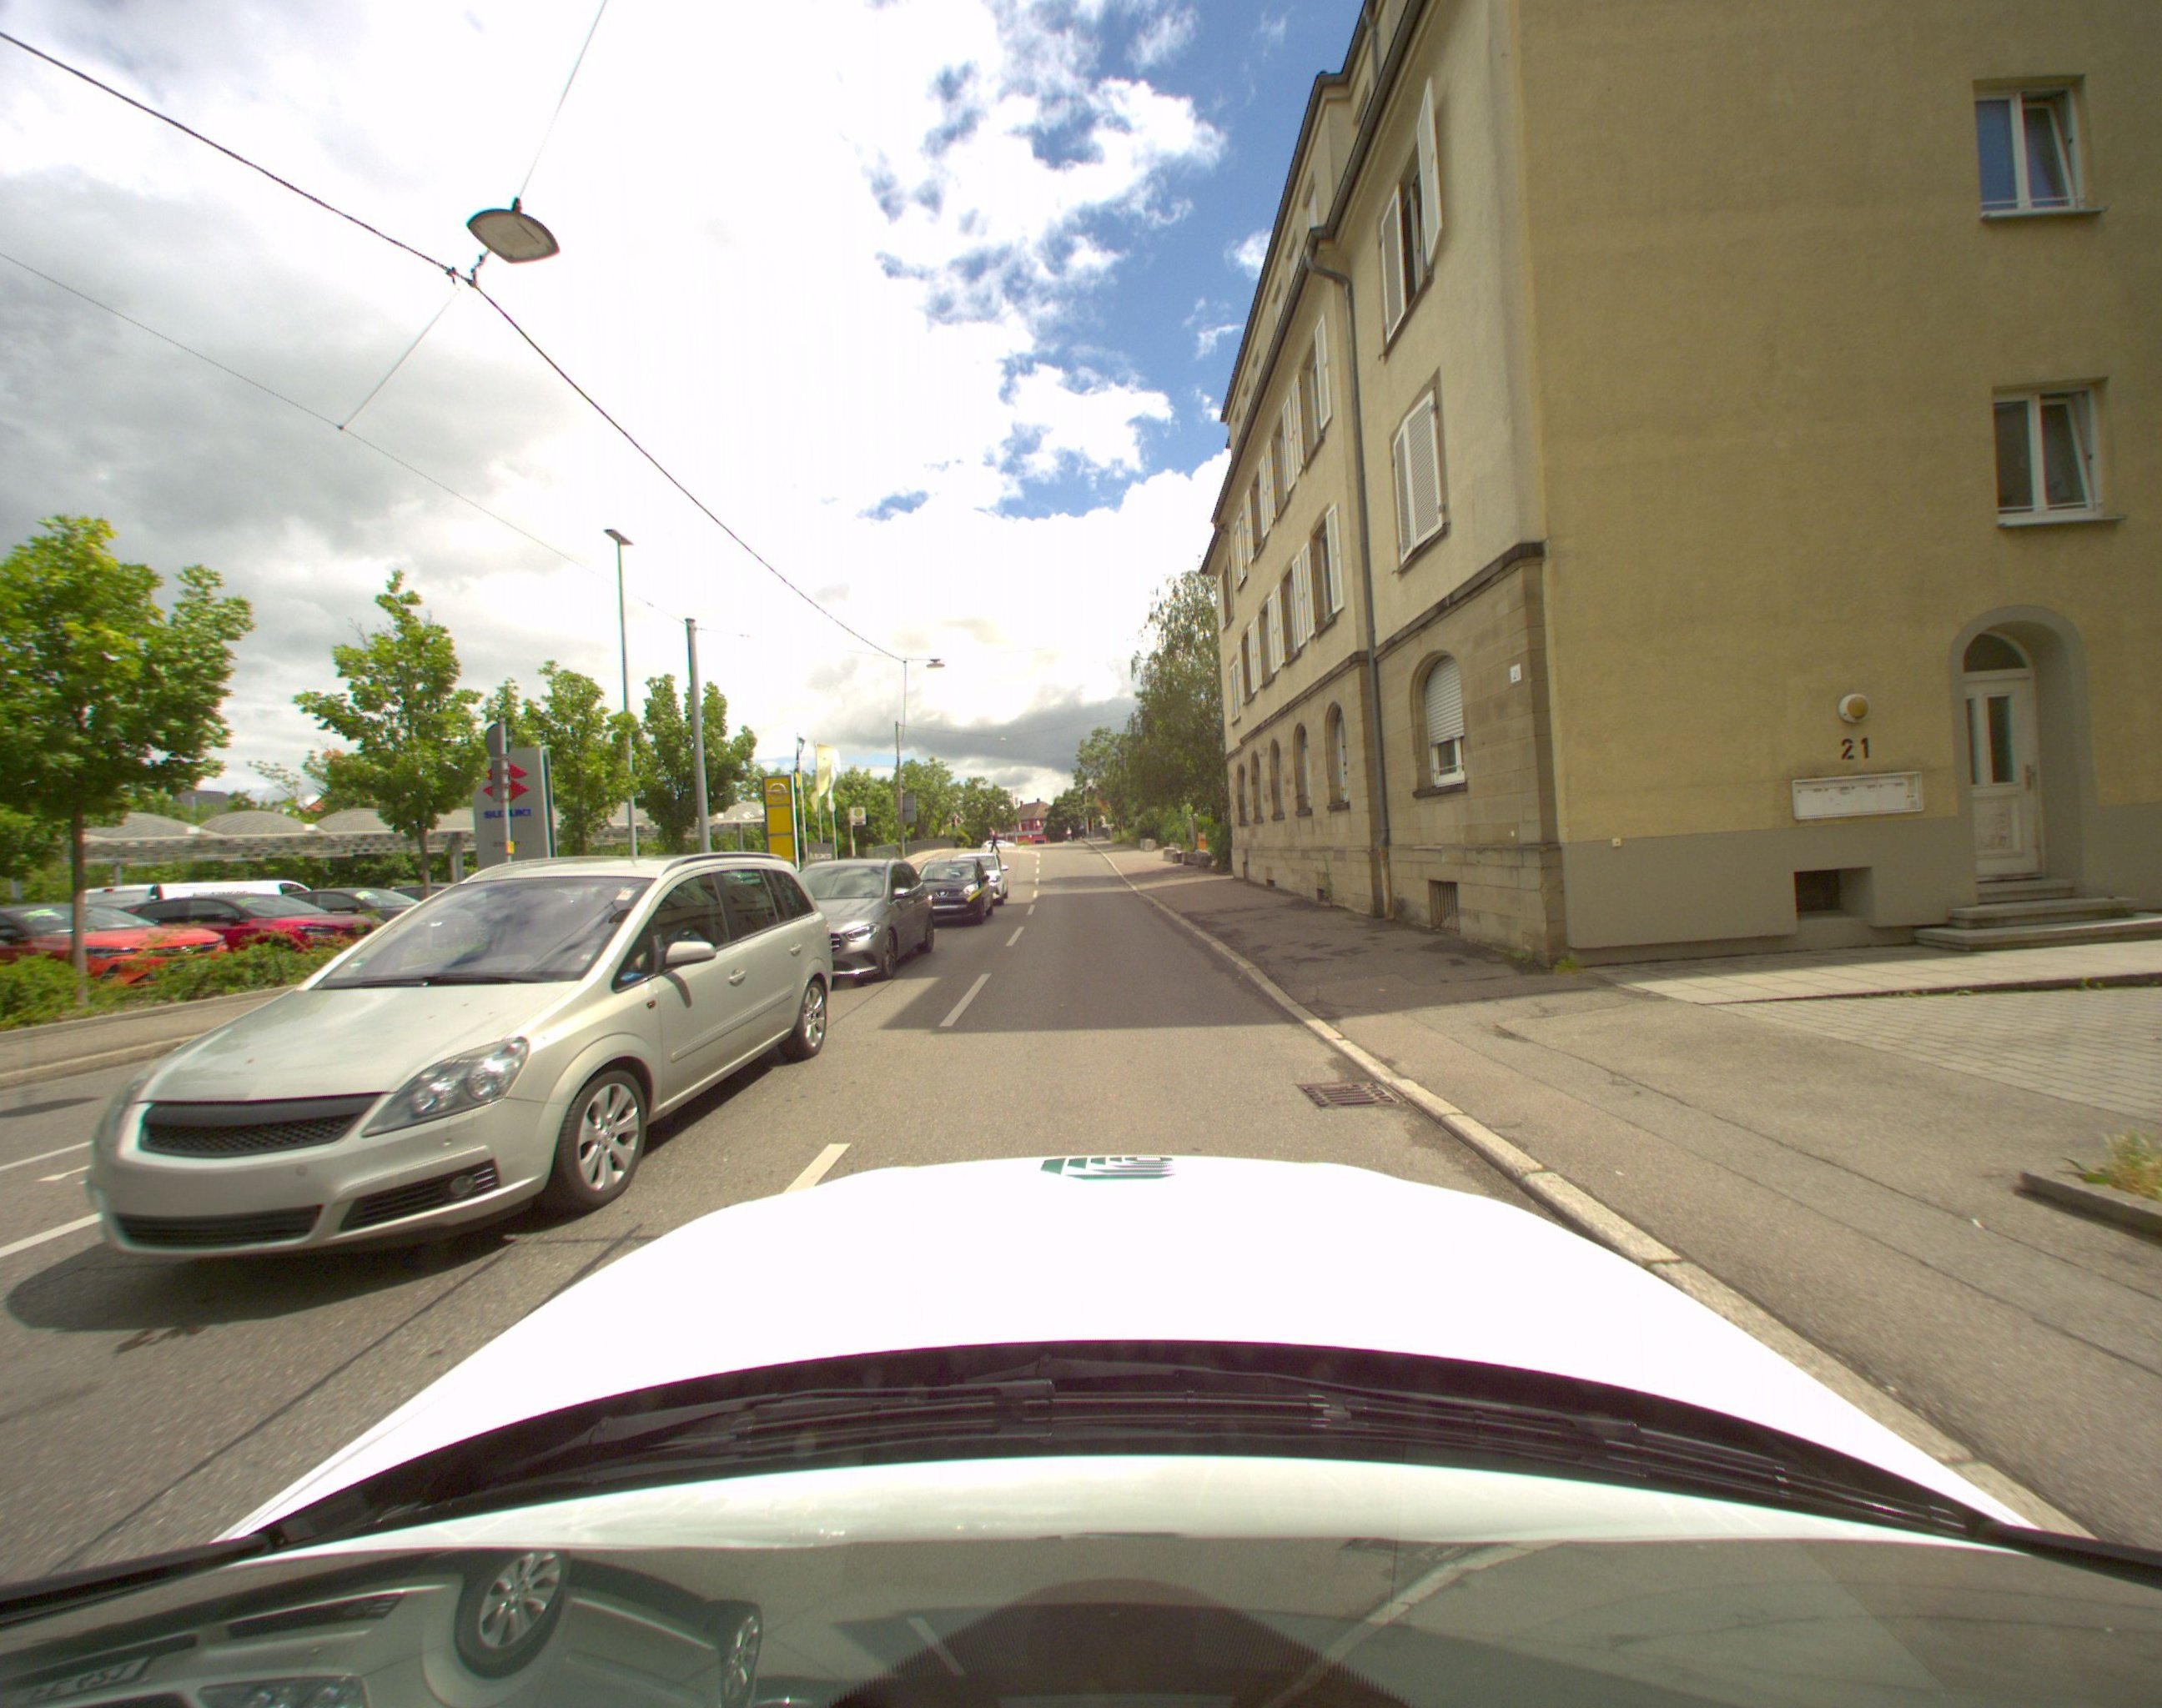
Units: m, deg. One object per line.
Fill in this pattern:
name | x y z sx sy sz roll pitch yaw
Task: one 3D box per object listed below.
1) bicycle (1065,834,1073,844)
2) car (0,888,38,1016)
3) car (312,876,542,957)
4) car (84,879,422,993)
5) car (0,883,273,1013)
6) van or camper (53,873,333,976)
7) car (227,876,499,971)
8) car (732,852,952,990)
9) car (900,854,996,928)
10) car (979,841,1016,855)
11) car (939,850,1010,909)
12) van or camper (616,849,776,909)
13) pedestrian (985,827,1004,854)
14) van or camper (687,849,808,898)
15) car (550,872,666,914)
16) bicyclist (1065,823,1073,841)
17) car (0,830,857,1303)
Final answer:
bicycle | -1.282 -1.627 88.199 0.685 0.878 2.103 -3 -4 3
car | -14.756 1.315 8.968 3.970 1.497 1.812 -4 1 -2
car | -15.424 1.442 19.396 3.825 1.461 1.771 -4 1 -4
car | -14.323 1.366 14.299 3.839 1.497 1.811 -4 1 -3
car | -14.449 1.347 11.633 3.816 1.497 1.812 -4 1 -2
van or camper | -22.513 1.676 21.030 1.988 2.013 4.683 -4 1 -1
car | -14.795 1.386 16.982 3.807 1.497 1.810 -4 1 -5
car | -3.152 0.798 11.684 1.712 1.581 4.253 -2 0 2
car | -2.939 0.774 18.577 1.715 1.484 3.320 -2 0 -2
car | -10.988 -0.755 107.459 4.440 1.831 1.983 0 -1 -26
car | -3.106 0.714 24.447 1.715 1.581 3.996 -2 0 -2
van or camper | -13.681 0.872 29.115 4.649 1.749 2.002 -4 1 3
pedestrian | -6.138 -0.958 58.006 1.027 1.836 1.002 -2 2 9
van or camper | -15.603 0.882 38.380 1.964 1.963 4.991 -2 1 31
car | -20.187 1.624 34.834 4.021 1.466 1.797 -4 0 -40
bicyclist | -1.329 -2.385 88.174 0.682 1.826 1.081 -3 -4 2
car | -2.910 0.742 4.945 1.712 1.581 4.320 -2 0 2
